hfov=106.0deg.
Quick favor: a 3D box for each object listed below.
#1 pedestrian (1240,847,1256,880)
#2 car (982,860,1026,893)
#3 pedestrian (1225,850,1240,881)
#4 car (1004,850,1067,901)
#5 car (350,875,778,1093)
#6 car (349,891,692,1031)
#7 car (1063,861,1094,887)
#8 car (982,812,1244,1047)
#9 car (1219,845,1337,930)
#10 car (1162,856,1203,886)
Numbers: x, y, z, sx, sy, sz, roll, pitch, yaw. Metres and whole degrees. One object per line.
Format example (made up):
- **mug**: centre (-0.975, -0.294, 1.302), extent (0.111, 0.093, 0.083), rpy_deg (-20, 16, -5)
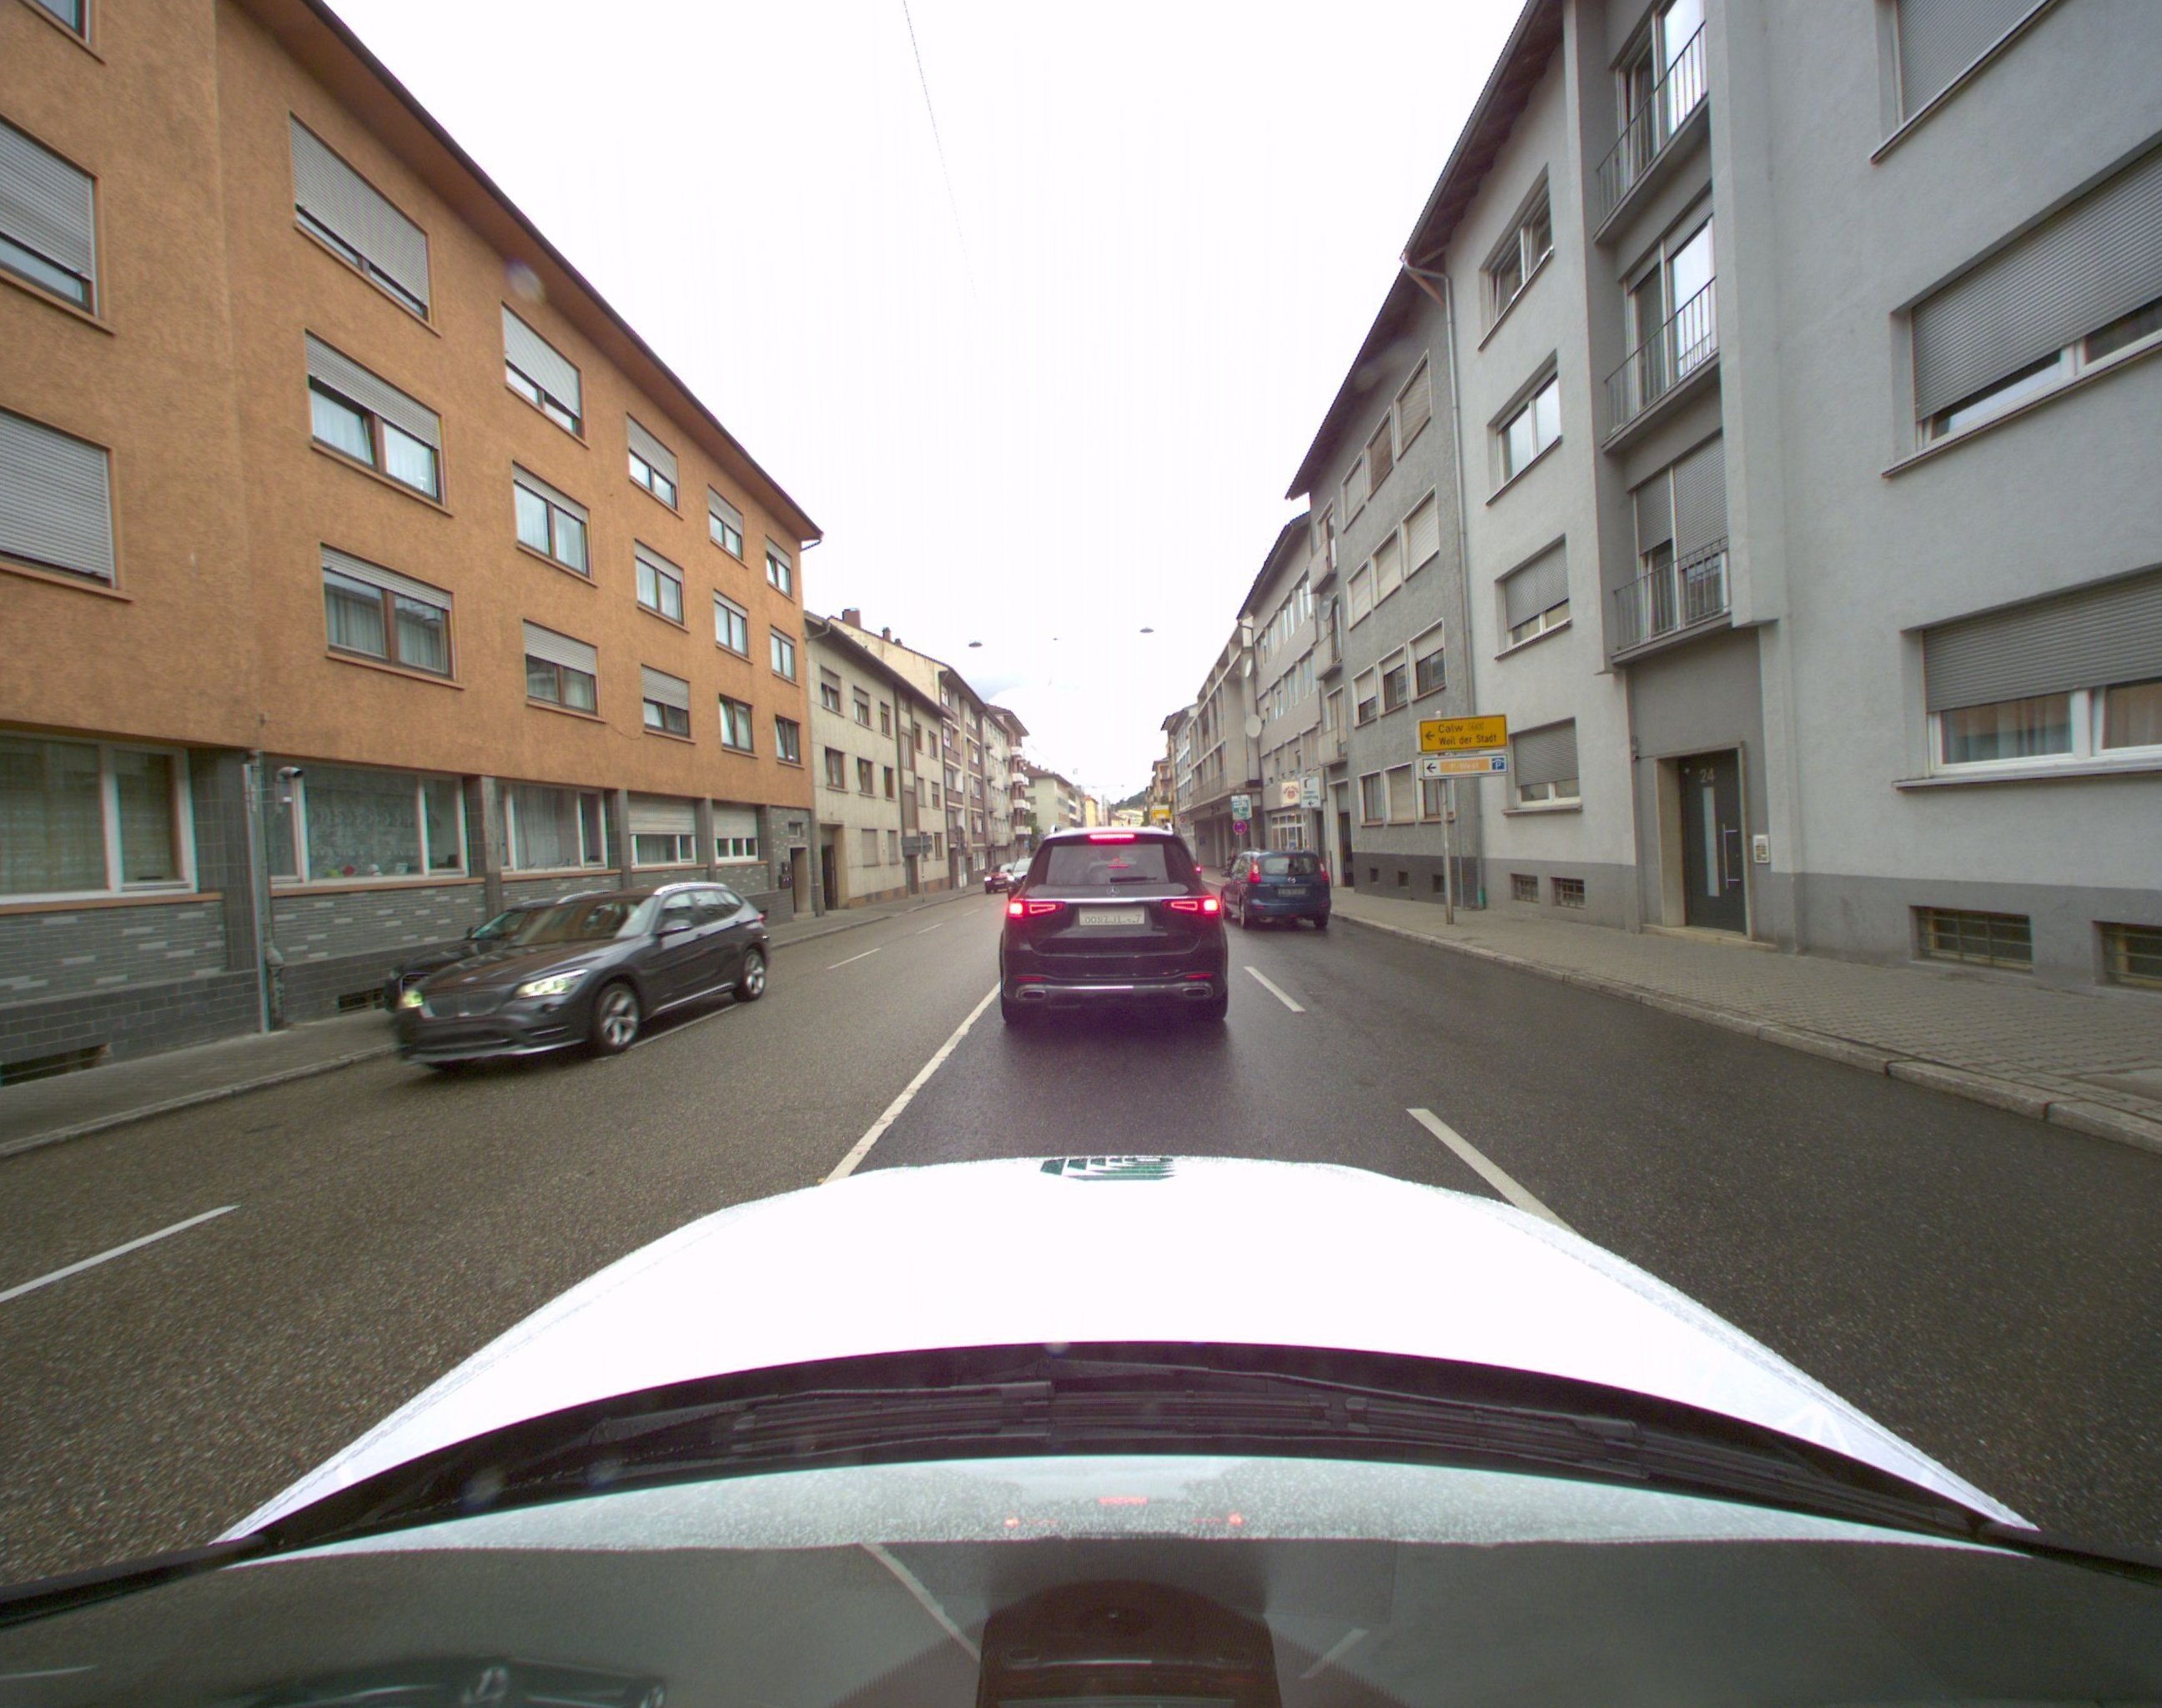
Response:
- **pedestrian**: centre (8.385, 0.482, 40.992), extent (0.558, 1.578, 0.526), rpy_deg (-5, 0, -1)
- **car**: centre (-4.289, 1.237, 45.939), extent (1.790, 1.584, 4.318), rpy_deg (-5, 0, 2)
- **pedestrian**: centre (7.631, 0.591, 40.984), extent (0.504, 1.500, 0.562), rpy_deg (-5, 0, 1)
- **car**: centre (-1.737, 0.804, 32.369), extent (1.828, 1.727, 4.479), rpy_deg (-5, 0, 4)
- **car**: centre (-4.964, 1.110, 8.672), extent (1.697, 1.507, 4.160), rpy_deg (-5, 0, 1)
- **car**: centre (-7.716, 1.373, 11.892), extent (1.789, 1.438, 4.528), rpy_deg (0, 0, 1)
- **car**: centre (-0.173, 1.504, 62.728), extent (2.119, 1.720, 4.819), rpy_deg (-5, 0, 1)
- **car**: centre (0.295, 0.587, 8.296), extent (2.018, 1.806, 4.001), rpy_deg (0, 0, 1)
- **car**: centre (4.160, 0.650, 17.832), extent (1.800, 1.606, 4.216), rpy_deg (-1, 0, 4)
- **car**: centre (4.986, 0.807, 40.572), extent (1.615, 1.430, 4.313), rpy_deg (0, 0, 1)
